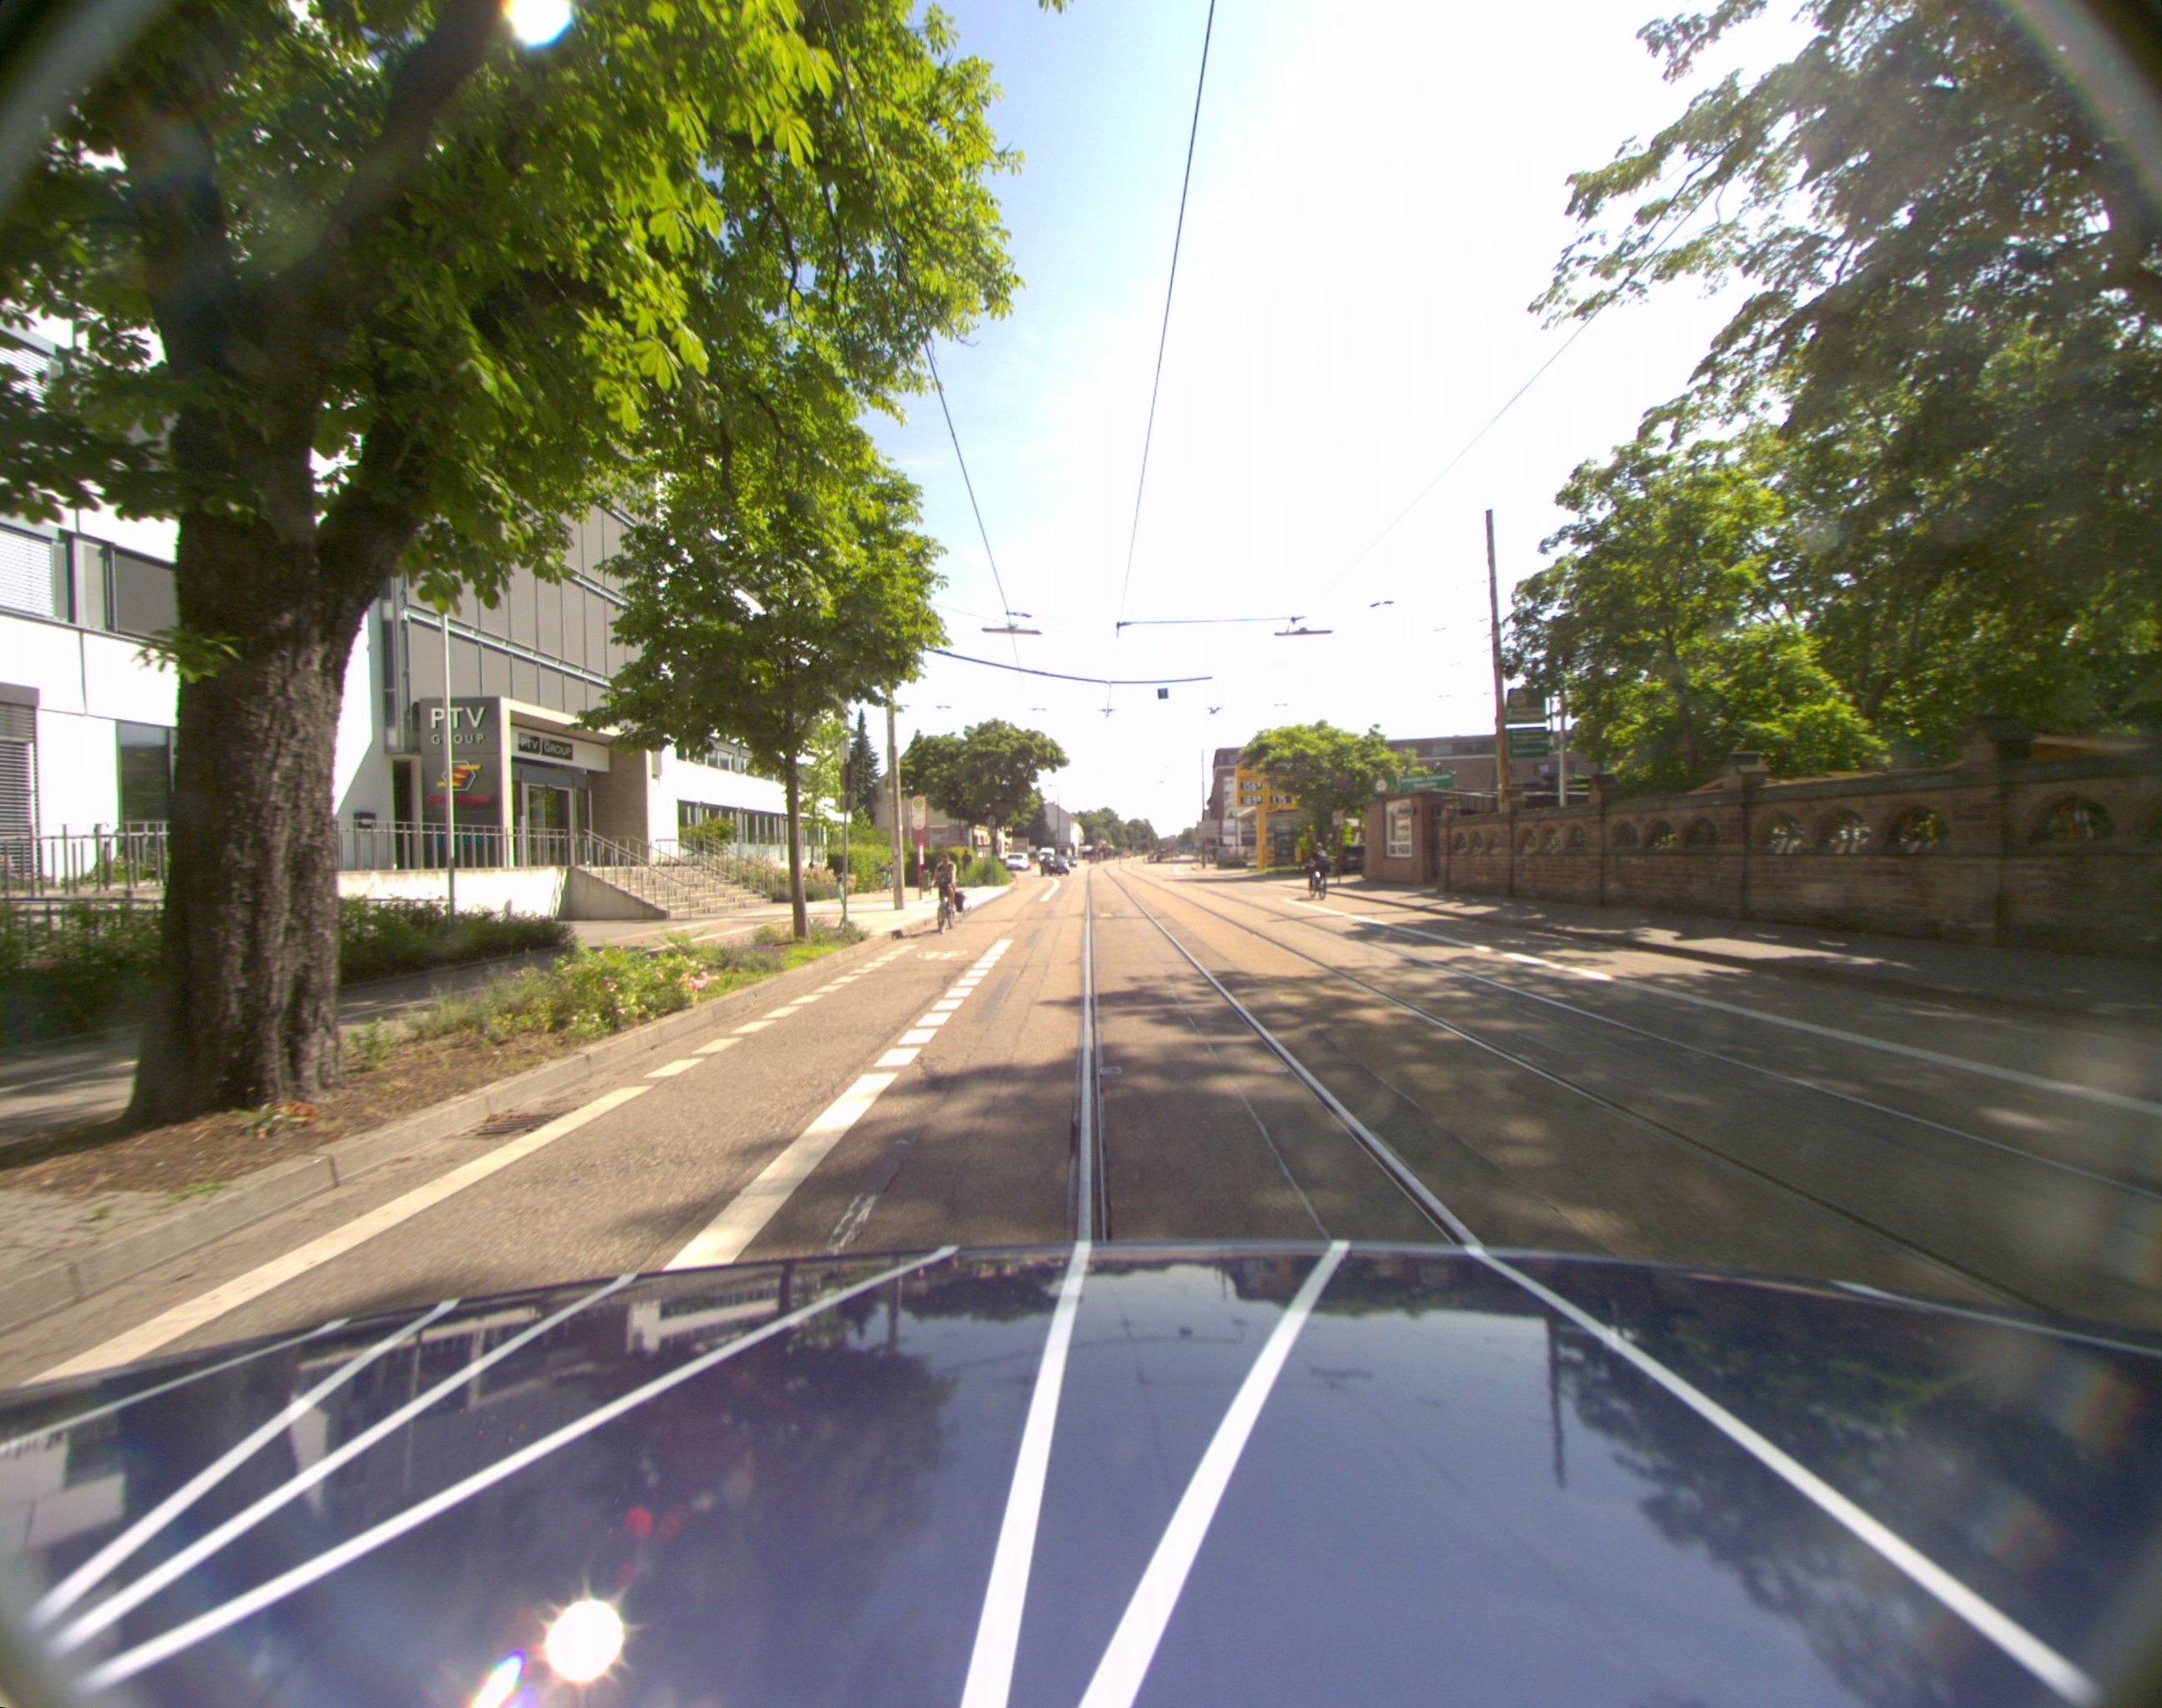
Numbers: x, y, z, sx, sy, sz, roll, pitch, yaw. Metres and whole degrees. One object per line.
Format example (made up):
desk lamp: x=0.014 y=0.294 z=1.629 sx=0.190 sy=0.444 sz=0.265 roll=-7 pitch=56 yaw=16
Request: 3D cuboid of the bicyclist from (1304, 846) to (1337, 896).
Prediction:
bicyclist: x=7.497 y=0.528 z=23.846 sx=0.742 sy=1.522 sz=0.947 roll=-1 pitch=1 yaw=1

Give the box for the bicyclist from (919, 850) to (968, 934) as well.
bicyclist: x=-2.911 y=0.790 z=16.195 sx=0.717 sy=1.714 sz=0.988 roll=-1 pitch=1 yaw=6

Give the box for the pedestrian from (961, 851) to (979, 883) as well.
pedestrian: x=-6.503 y=0.735 z=44.550 sx=0.892 sy=1.807 sz=1.073 roll=-2 pitch=1 yaw=-6

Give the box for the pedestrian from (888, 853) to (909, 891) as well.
pedestrian: x=-7.557 y=0.727 z=31.570 sx=0.688 sy=1.554 sz=0.988 roll=0 pitch=1 yaw=-4

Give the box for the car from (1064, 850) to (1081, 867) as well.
car: x=-1.042 y=0.580 z=94.533 sx=1.998 sy=2.002 sz=4.000 roll=-1 pitch=0 yaw=1

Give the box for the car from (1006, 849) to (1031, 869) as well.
car: x=-6.621 y=0.503 z=81.179 sx=2.089 sy=2.002 sz=4.909 roll=0 pitch=0 yaw=2

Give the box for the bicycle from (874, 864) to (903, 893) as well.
bicycle: x=-7.938 y=0.978 z=31.475 sx=0.637 sy=1.111 sz=2.067 roll=-2 pitch=0 yaw=0

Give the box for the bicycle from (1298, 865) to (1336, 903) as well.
bicycle: x=7.452 y=0.913 z=24.031 sx=0.593 sy=1.099 sz=2.054 roll=-1 pitch=0 yaw=1

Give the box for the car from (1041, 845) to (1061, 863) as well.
car: x=-4.308 y=0.056 z=111.144 sx=2.335 sy=2.521 sz=6.507 roll=1 pitch=0 yaw=2

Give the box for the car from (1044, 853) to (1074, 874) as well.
car: x=-1.651 y=0.680 z=55.947 sx=1.480 sy=1.529 sz=2.972 roll=-1 pitch=0 yaw=-16

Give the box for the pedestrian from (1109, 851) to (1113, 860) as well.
pedestrian: x=5.711 y=0.344 z=144.319 sx=0.707 sy=1.680 sz=0.416 roll=-1 pitch=1 yaw=0

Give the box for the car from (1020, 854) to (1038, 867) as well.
car: x=-5.948 y=0.766 z=87.423 sx=1.724 sy=1.398 sz=4.001 roll=-1 pitch=0 yaw=2

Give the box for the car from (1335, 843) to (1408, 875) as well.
car: x=16.179 y=0.250 z=42.212 sx=2.014 sy=1.631 sz=4.669 roll=-1 pitch=0 yaw=45

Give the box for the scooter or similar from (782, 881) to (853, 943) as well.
scooter or similar: x=-5.209 y=1.142 z=15.049 sx=1.128 sy=1.159 sz=0.676 roll=-1 pitch=1 yaw=3

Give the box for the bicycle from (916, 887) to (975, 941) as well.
bicycle: x=-2.889 y=1.259 z=16.397 sx=0.610 sy=0.978 sz=2.165 roll=-2 pitch=0 yaw=7
